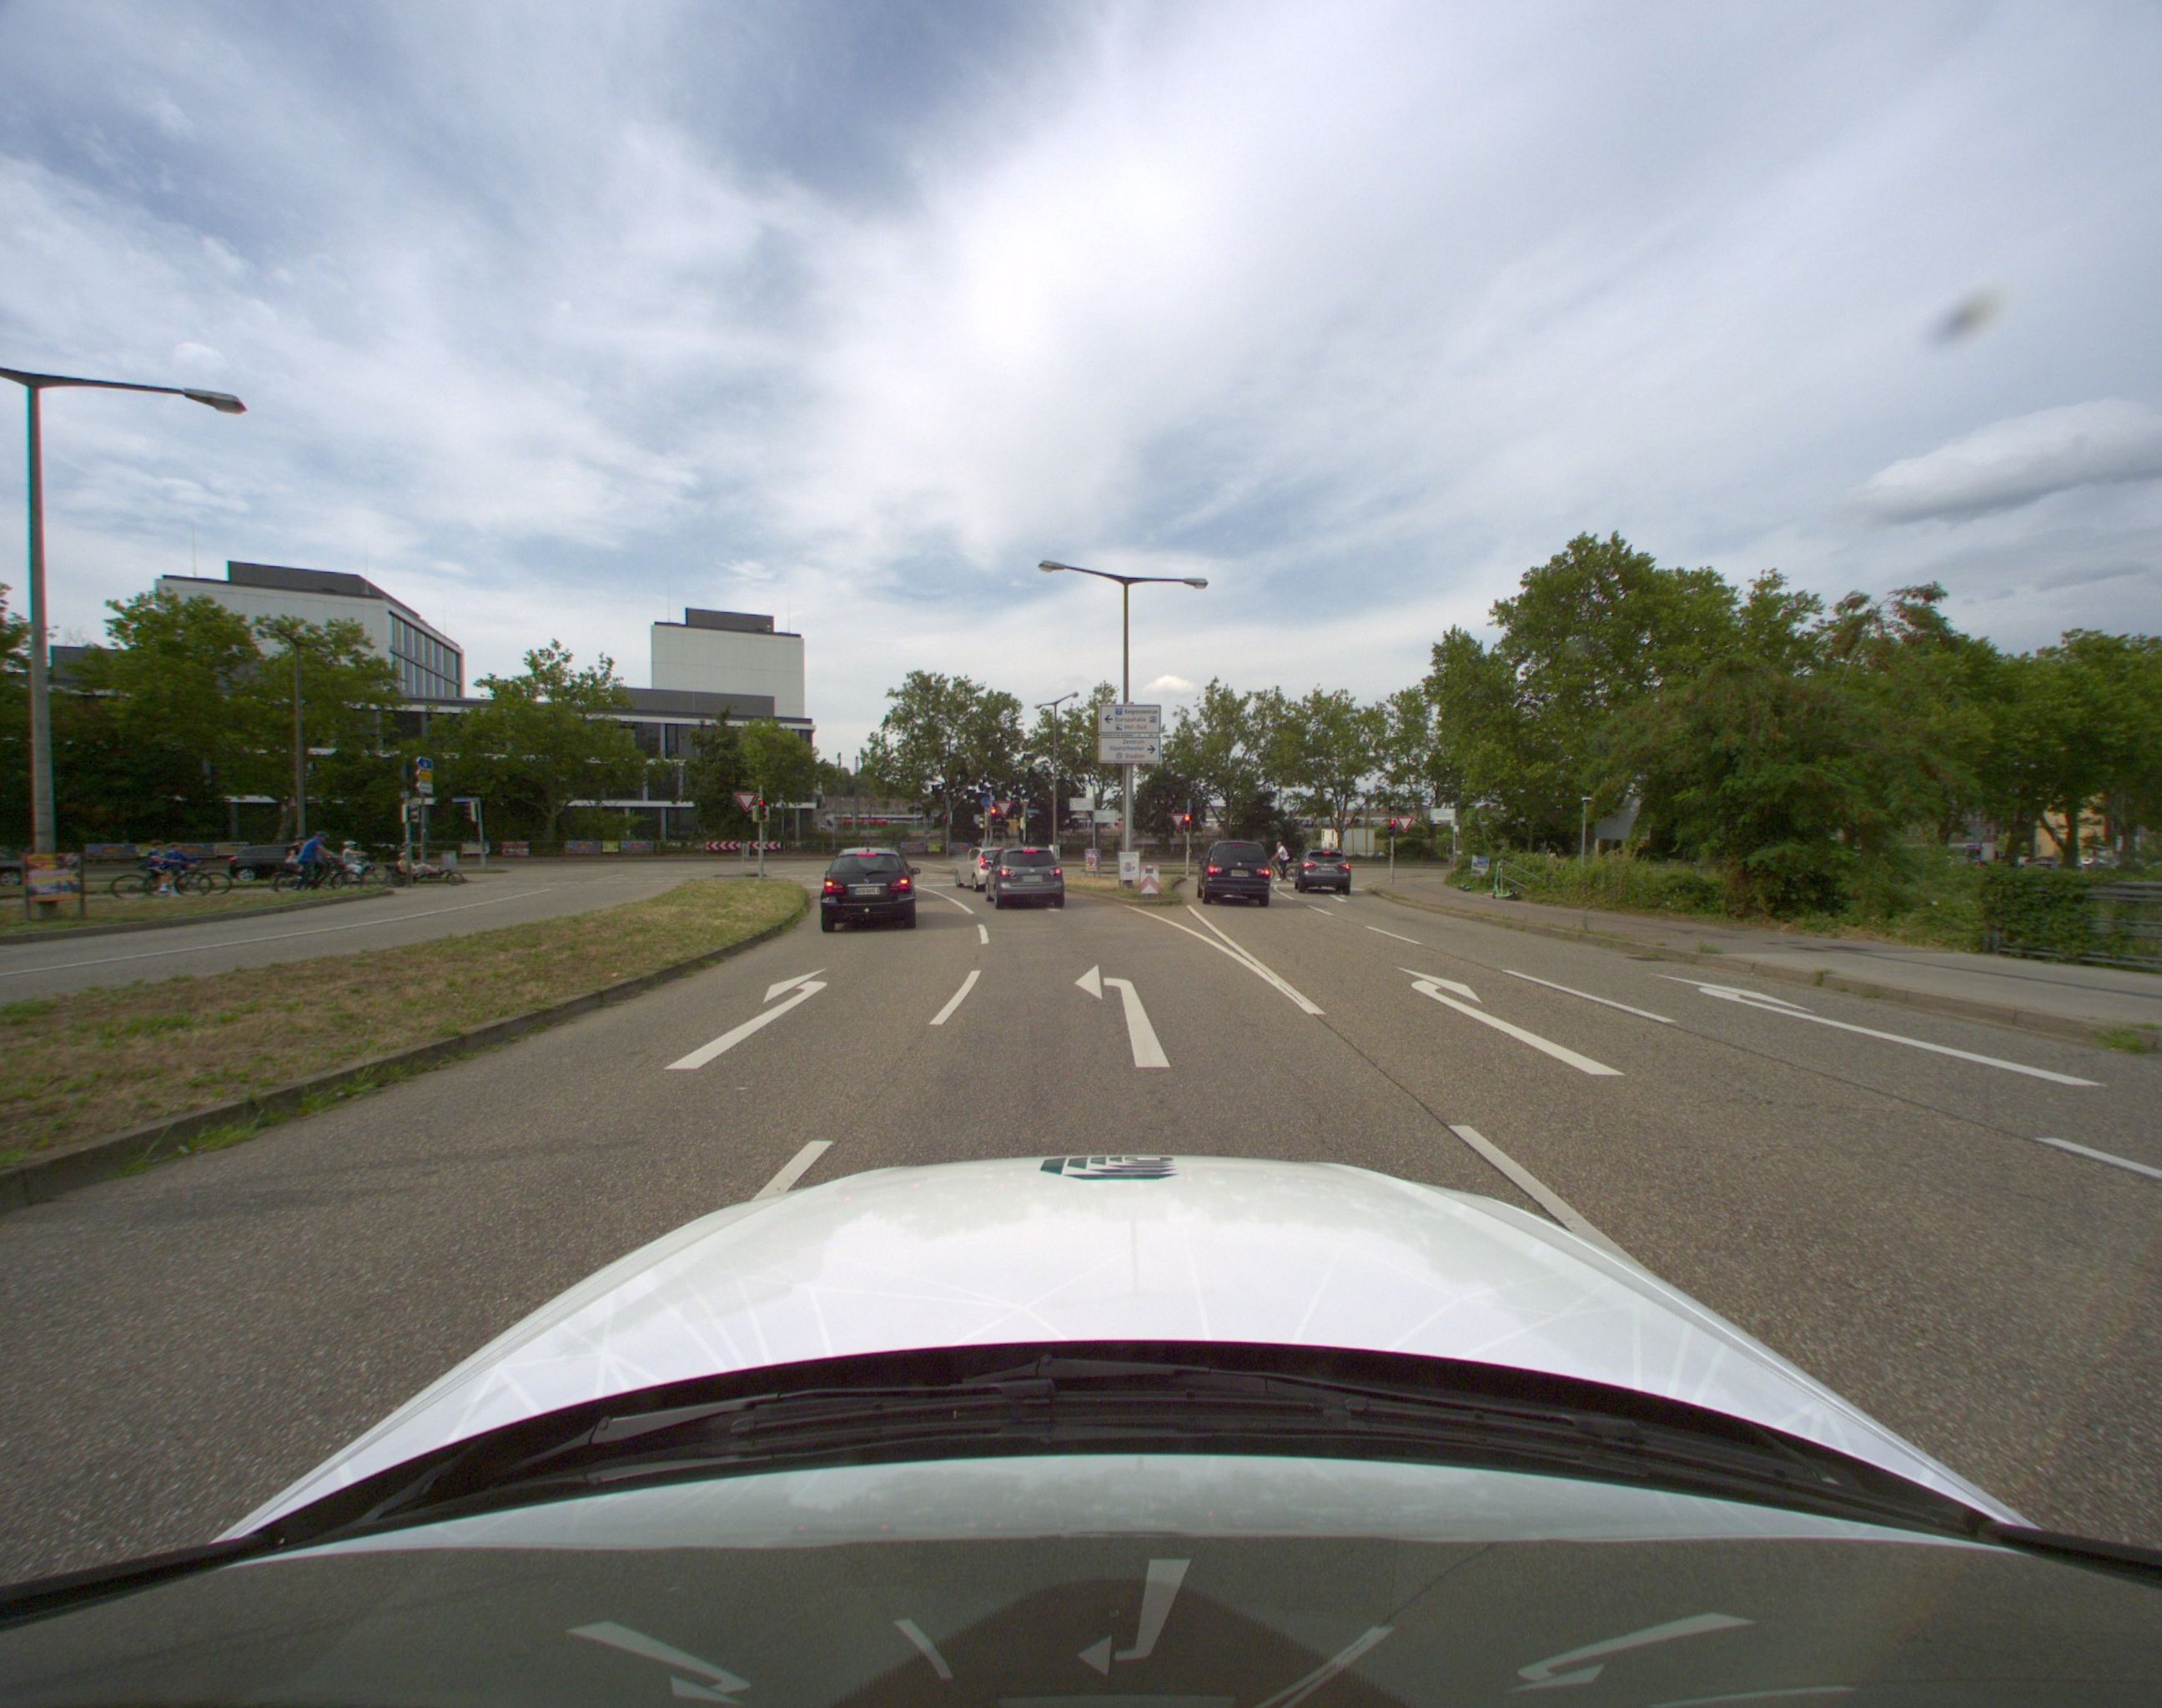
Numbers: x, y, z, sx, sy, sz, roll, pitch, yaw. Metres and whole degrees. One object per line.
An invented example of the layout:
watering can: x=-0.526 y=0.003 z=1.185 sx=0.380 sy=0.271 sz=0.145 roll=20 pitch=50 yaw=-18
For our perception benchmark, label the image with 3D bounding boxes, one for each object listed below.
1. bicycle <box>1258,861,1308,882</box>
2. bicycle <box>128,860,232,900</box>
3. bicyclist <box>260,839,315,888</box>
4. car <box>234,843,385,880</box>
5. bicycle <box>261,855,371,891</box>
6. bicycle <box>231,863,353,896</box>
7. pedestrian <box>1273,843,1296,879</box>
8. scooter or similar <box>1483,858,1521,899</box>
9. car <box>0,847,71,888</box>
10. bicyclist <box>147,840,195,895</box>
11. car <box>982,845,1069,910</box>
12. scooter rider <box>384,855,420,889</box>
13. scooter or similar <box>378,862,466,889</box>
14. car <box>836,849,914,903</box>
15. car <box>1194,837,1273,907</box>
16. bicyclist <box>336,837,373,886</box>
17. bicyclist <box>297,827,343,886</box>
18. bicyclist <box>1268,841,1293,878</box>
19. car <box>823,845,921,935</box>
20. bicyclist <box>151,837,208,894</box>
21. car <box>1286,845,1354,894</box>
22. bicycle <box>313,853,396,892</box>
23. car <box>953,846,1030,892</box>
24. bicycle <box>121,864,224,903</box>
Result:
bicycle: x=9.408 y=0.796 z=38.022 sx=2.214 sy=0.952 sz=0.814 roll=0 pitch=1 yaw=10
bicycle: x=-25.149 y=0.712 z=22.792 sx=0.620 sy=1.013 sz=1.919 roll=1 pitch=2 yaw=44
bicyclist: x=-24.076 y=0.263 z=24.731 sx=1.123 sy=1.436 sz=0.640 roll=-2 pitch=2 yaw=-40
car: x=-30.454 y=0.263 z=32.326 sx=4.087 sy=1.368 sz=1.684 roll=-1 pitch=1 yaw=-35
bicycle: x=-22.154 y=0.532 z=23.663 sx=2.246 sy=0.952 sz=0.802 roll=-1 pitch=1 yaw=-38
bicycle: x=-23.969 y=0.753 z=24.835 sx=2.605 sy=0.890 sz=0.696 roll=-1 pitch=2 yaw=-40
pedestrian: x=9.778 y=0.329 z=39.237 sx=1.040 sy=1.710 sz=0.856 roll=1 pitch=1 yaw=13
scooter or similar: x=12.675 y=0.724 z=24.555 sx=0.396 sy=1.183 sz=1.278 roll=-1 pitch=0 yaw=-5
car: x=-39.401 y=0.479 z=28.915 sx=4.075 sy=1.450 sz=1.690 roll=-1 pitch=1 yaw=-23
bicyclist: x=-25.895 y=0.371 z=23.190 sx=0.846 sy=1.529 sz=0.621 roll=-1 pitch=2 yaw=-45
car: x=-1.576 y=0.538 z=21.777 sx=1.742 sy=1.546 sz=4.065 roll=-1 pitch=1 yaw=-12
scooter rider: x=-23.756 y=0.604 z=28.508 sx=0.921 sy=1.137 sz=0.799 roll=-1 pitch=2 yaw=-39
scooter or similar: x=-23.326 y=0.736 z=28.867 sx=2.398 sy=0.849 sz=0.799 roll=-1 pitch=2 yaw=-40
car: x=-6.258 y=0.581 z=24.420 sx=1.824 sy=1.414 sz=4.745 roll=0 pitch=1 yaw=-20
car: x=4.191 y=0.454 z=22.932 sx=1.742 sy=1.724 sz=4.144 roll=2 pitch=0 yaw=5
bicyclist: x=-23.603 y=0.225 z=26.463 sx=0.785 sy=1.581 sz=0.648 roll=-1 pitch=1 yaw=-32
bicyclist: x=-22.122 y=0.060 z=23.682 sx=0.888 sy=1.656 sz=0.802 roll=-1 pitch=1 yaw=-38
bicyclist: x=9.298 y=0.237 z=38.031 sx=1.105 sy=1.696 sz=0.815 roll=0 pitch=1 yaw=10
car: x=-4.282 y=0.642 z=17.059 sx=1.758 sy=1.575 sz=4.020 roll=0 pitch=2 yaw=-12
bicyclist: x=-25.165 y=0.299 z=22.764 sx=0.620 sy=1.539 sz=1.025 roll=1 pitch=2 yaw=44
car: x=8.808 y=0.546 z=30.374 sx=1.741 sy=1.643 sz=4.146 roll=2 pitch=0 yaw=7
bicycle: x=-23.596 y=0.581 z=26.485 sx=1.914 sy=1.210 sz=0.636 roll=-1 pitch=1 yaw=-33
car: x=-3.192 y=0.467 z=28.315 sx=1.747 sy=1.482 sz=4.054 roll=-1 pitch=1 yaw=-20
bicycle: x=-25.868 y=0.823 z=23.239 sx=1.918 sy=1.013 sz=0.621 roll=-2 pitch=2 yaw=-45
